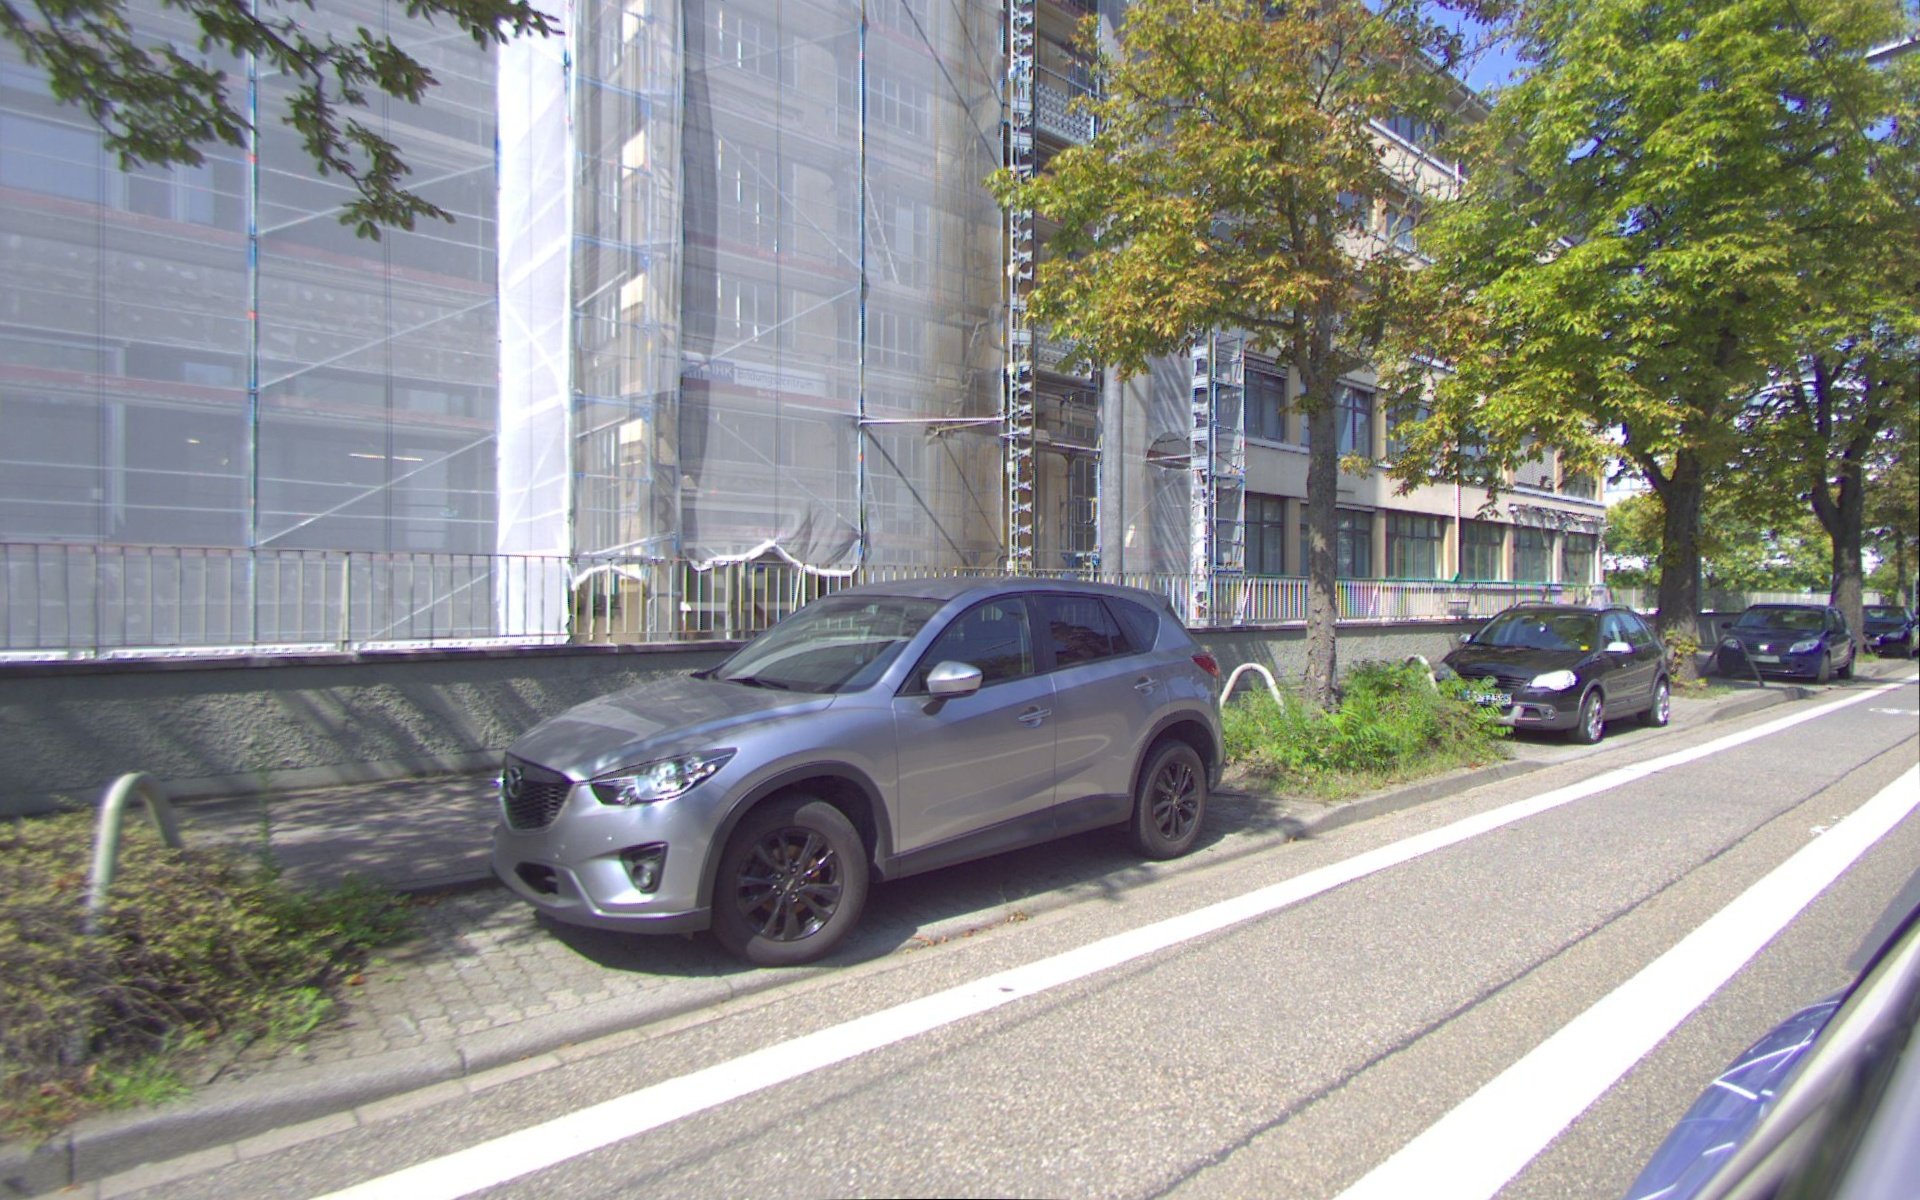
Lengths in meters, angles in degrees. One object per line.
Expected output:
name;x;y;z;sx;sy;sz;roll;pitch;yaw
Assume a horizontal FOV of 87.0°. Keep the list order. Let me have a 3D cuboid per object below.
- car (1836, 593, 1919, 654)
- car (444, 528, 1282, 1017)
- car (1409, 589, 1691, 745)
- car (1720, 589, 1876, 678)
car;25.595;0.584;27.854;3.924;1.491;1.642;-1;3;-41
car;-0.205;0.585;5.722;4.568;1.710;1.765;0;0;-41
car;7.216;0.665;12.236;3.928;1.590;1.689;0;0;-39
car;16.944;0.617;20.398;4.009;1.590;1.645;1;1;-39
